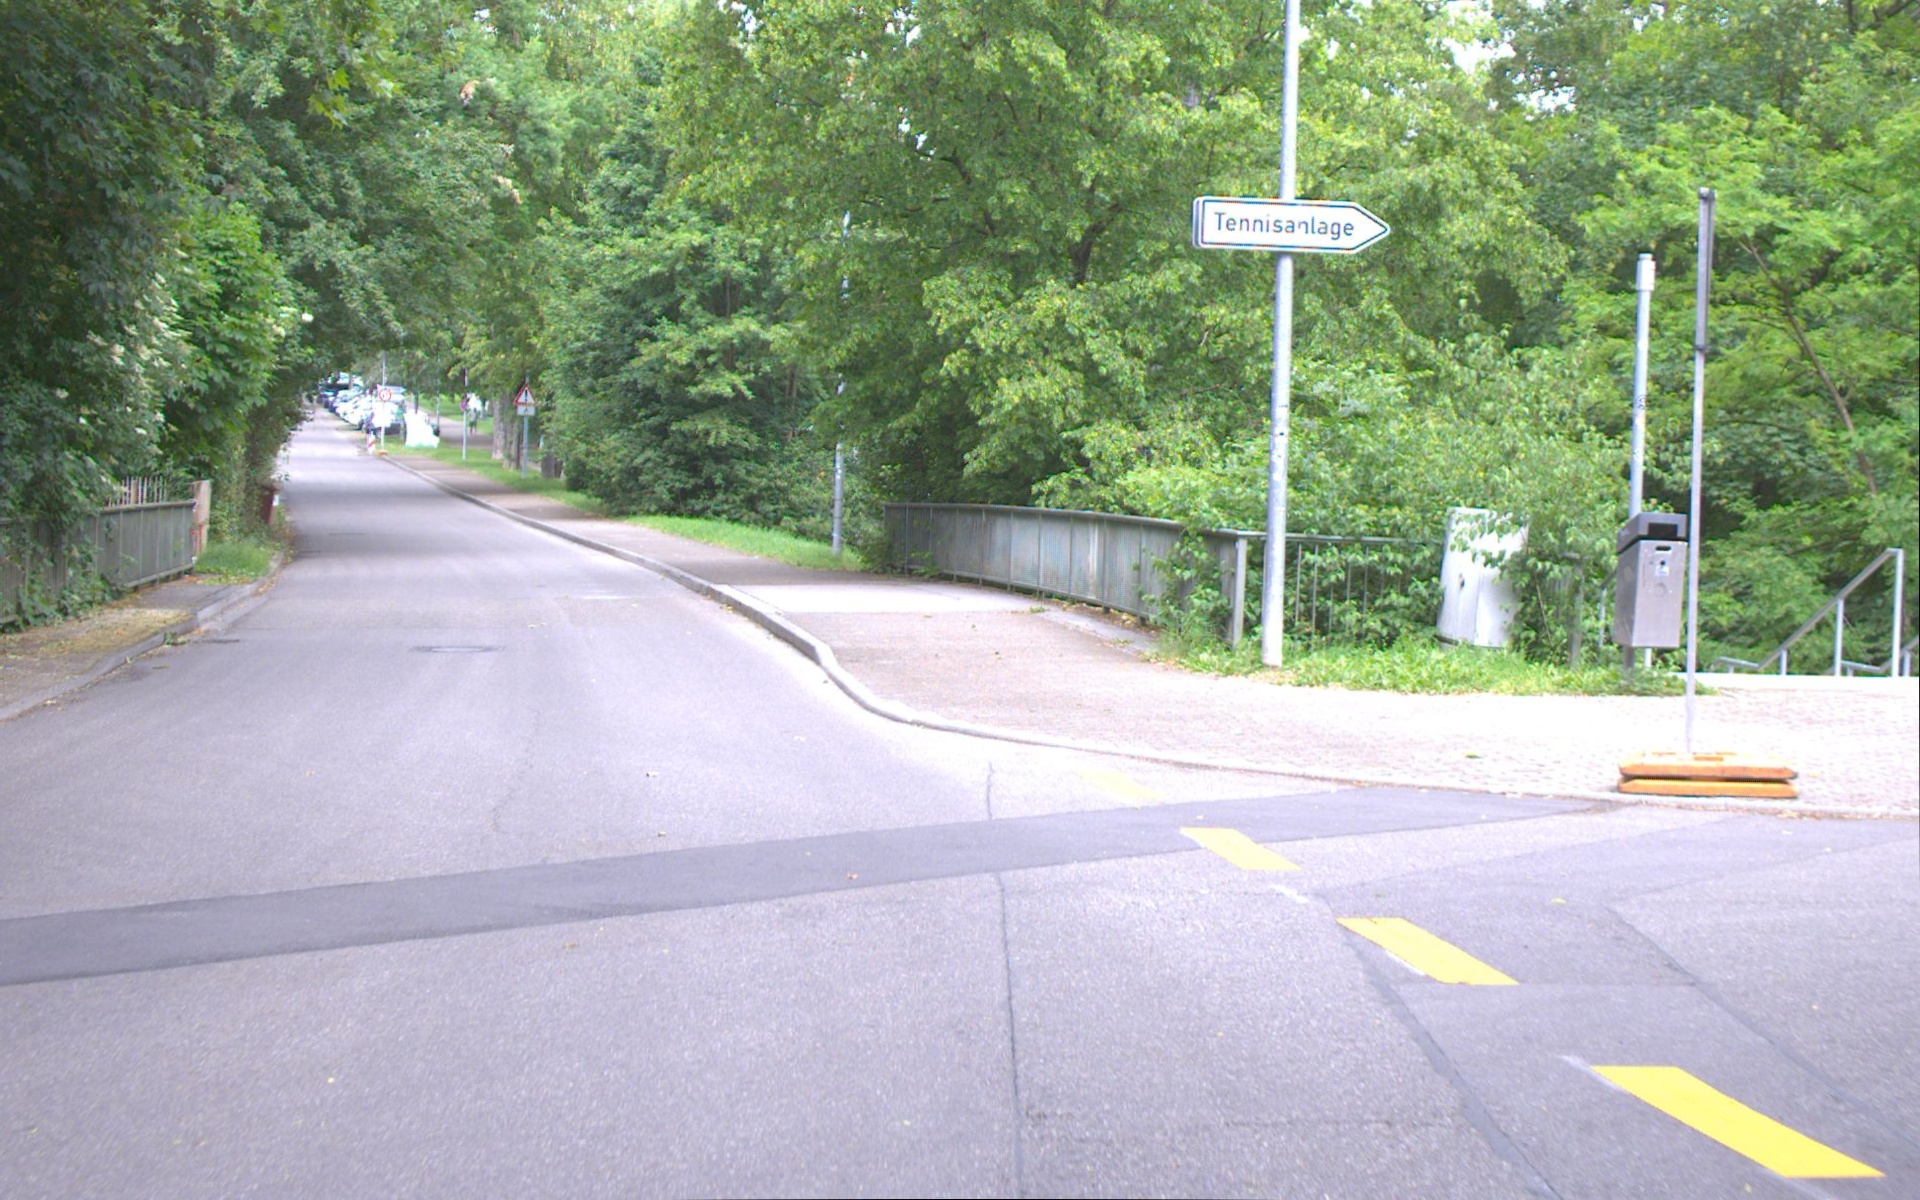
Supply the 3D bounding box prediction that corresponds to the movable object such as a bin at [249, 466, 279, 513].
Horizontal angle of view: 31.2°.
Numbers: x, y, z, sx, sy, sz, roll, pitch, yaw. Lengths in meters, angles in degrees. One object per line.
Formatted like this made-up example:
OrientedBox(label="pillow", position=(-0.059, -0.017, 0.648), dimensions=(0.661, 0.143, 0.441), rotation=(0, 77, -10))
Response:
OrientedBox(label="movable object such as a bin", position=(-14.432, -2.294, 71.306), dimensions=(0.590, 0.954, 0.470), rotation=(1, 1, -10))
